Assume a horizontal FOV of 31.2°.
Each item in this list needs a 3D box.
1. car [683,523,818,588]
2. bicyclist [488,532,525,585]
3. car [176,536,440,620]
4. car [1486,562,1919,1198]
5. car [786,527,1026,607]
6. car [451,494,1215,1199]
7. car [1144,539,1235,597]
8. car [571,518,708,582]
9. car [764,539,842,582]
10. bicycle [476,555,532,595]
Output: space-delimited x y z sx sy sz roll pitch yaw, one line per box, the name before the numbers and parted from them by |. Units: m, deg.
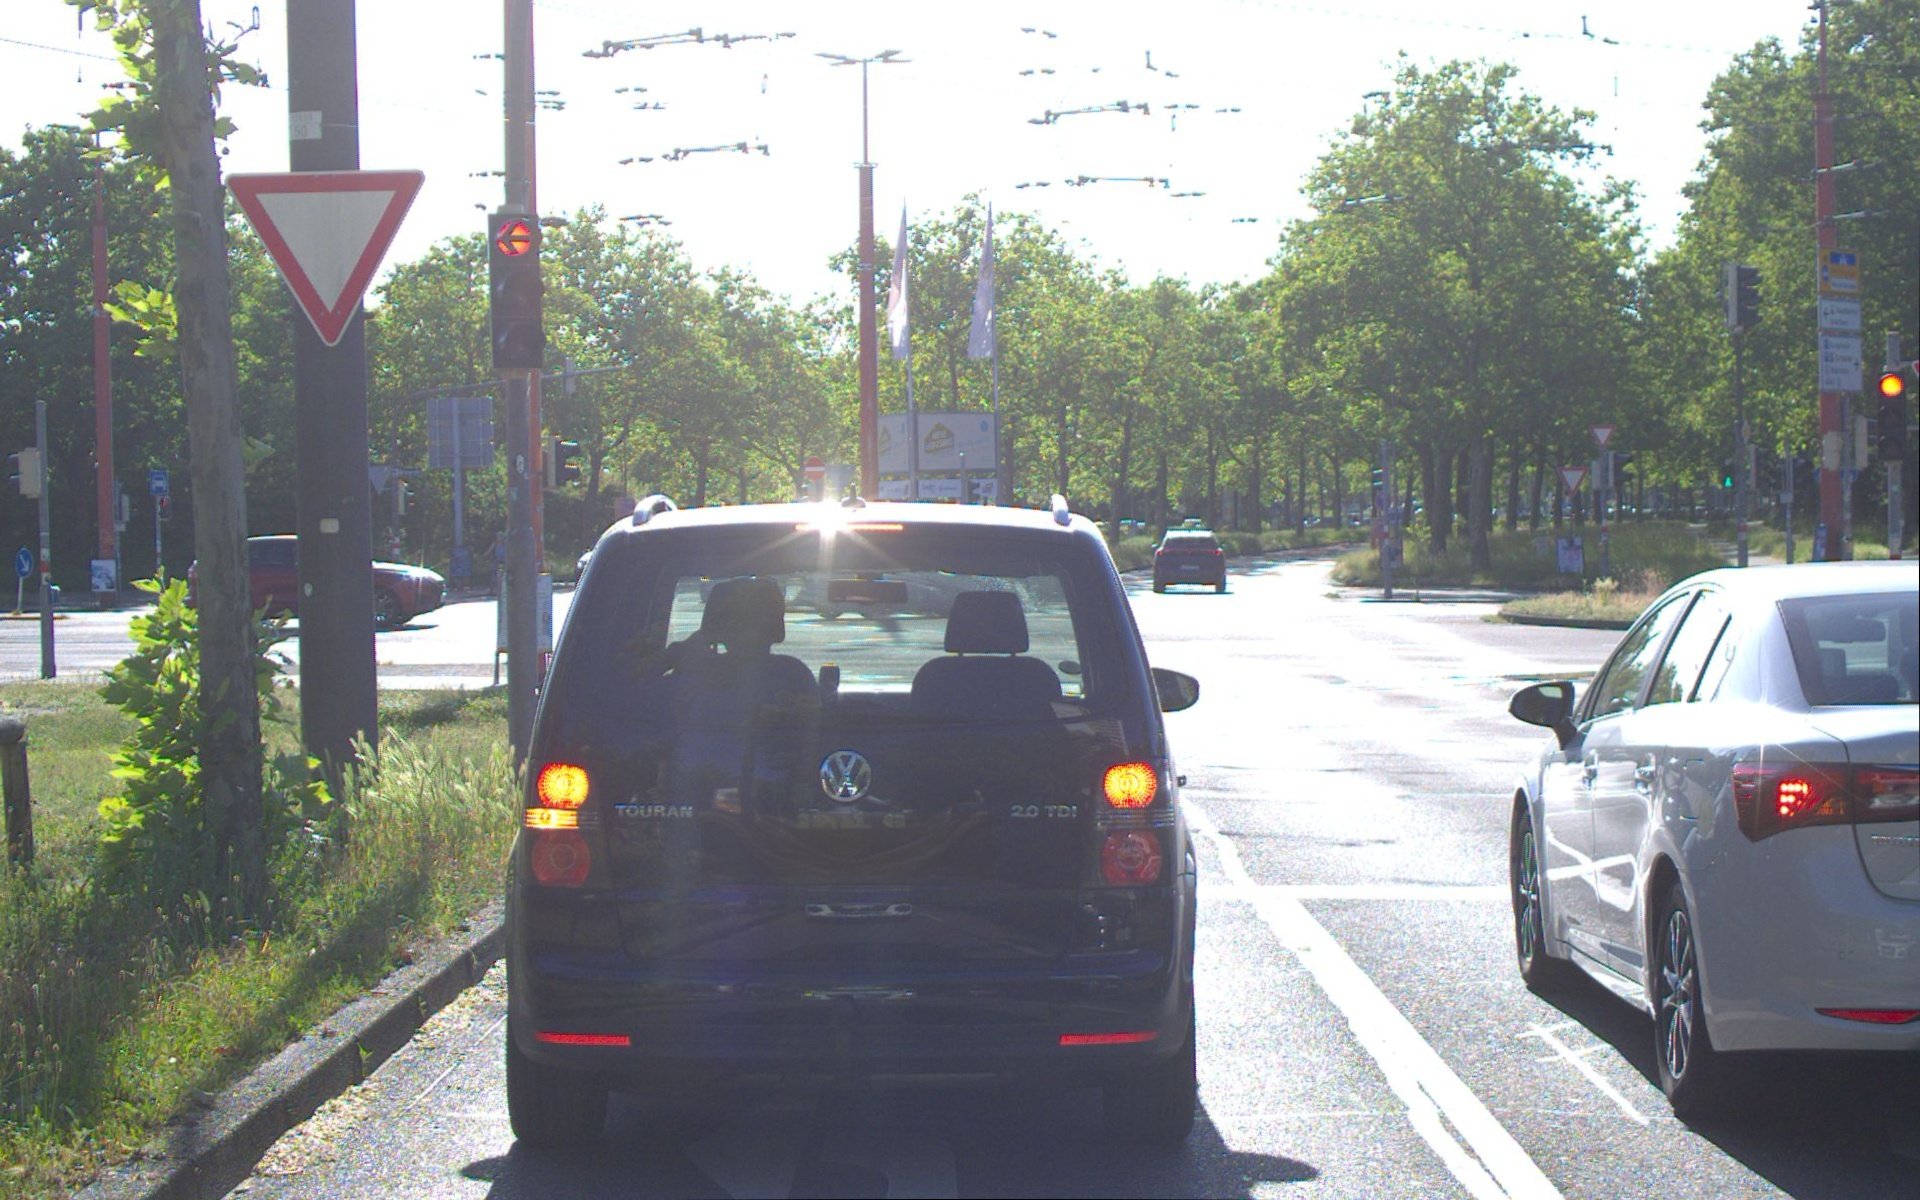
car | -5.558 -1.200 91.773 1.995 1.679 4.825 0 1 17
bicyclist | -12.489 -1.153 94.623 0.693 1.452 0.874 0 1 18
car | -11.651 -0.399 61.642 4.359 1.459 1.914 0 1 1
car | 2.691 0.630 10.072 1.715 1.449 4.144 0 1 1
car | -1.015 -0.642 65.497 4.209 1.459 1.914 -1 1 -34
car | -0.312 0.547 9.871 1.737 1.635 4.000 0 1 -1
car | 5.970 -0.837 89.055 1.909 1.459 4.221 0 1 10
car | -8.674 -1.372 93.536 1.995 1.679 4.825 0 1 17
car | -6.283 -1.603 138.200 1.994 1.679 4.826 0 1 11
bicycle | -12.520 -0.684 94.411 0.735 1.086 1.959 0 1 18
